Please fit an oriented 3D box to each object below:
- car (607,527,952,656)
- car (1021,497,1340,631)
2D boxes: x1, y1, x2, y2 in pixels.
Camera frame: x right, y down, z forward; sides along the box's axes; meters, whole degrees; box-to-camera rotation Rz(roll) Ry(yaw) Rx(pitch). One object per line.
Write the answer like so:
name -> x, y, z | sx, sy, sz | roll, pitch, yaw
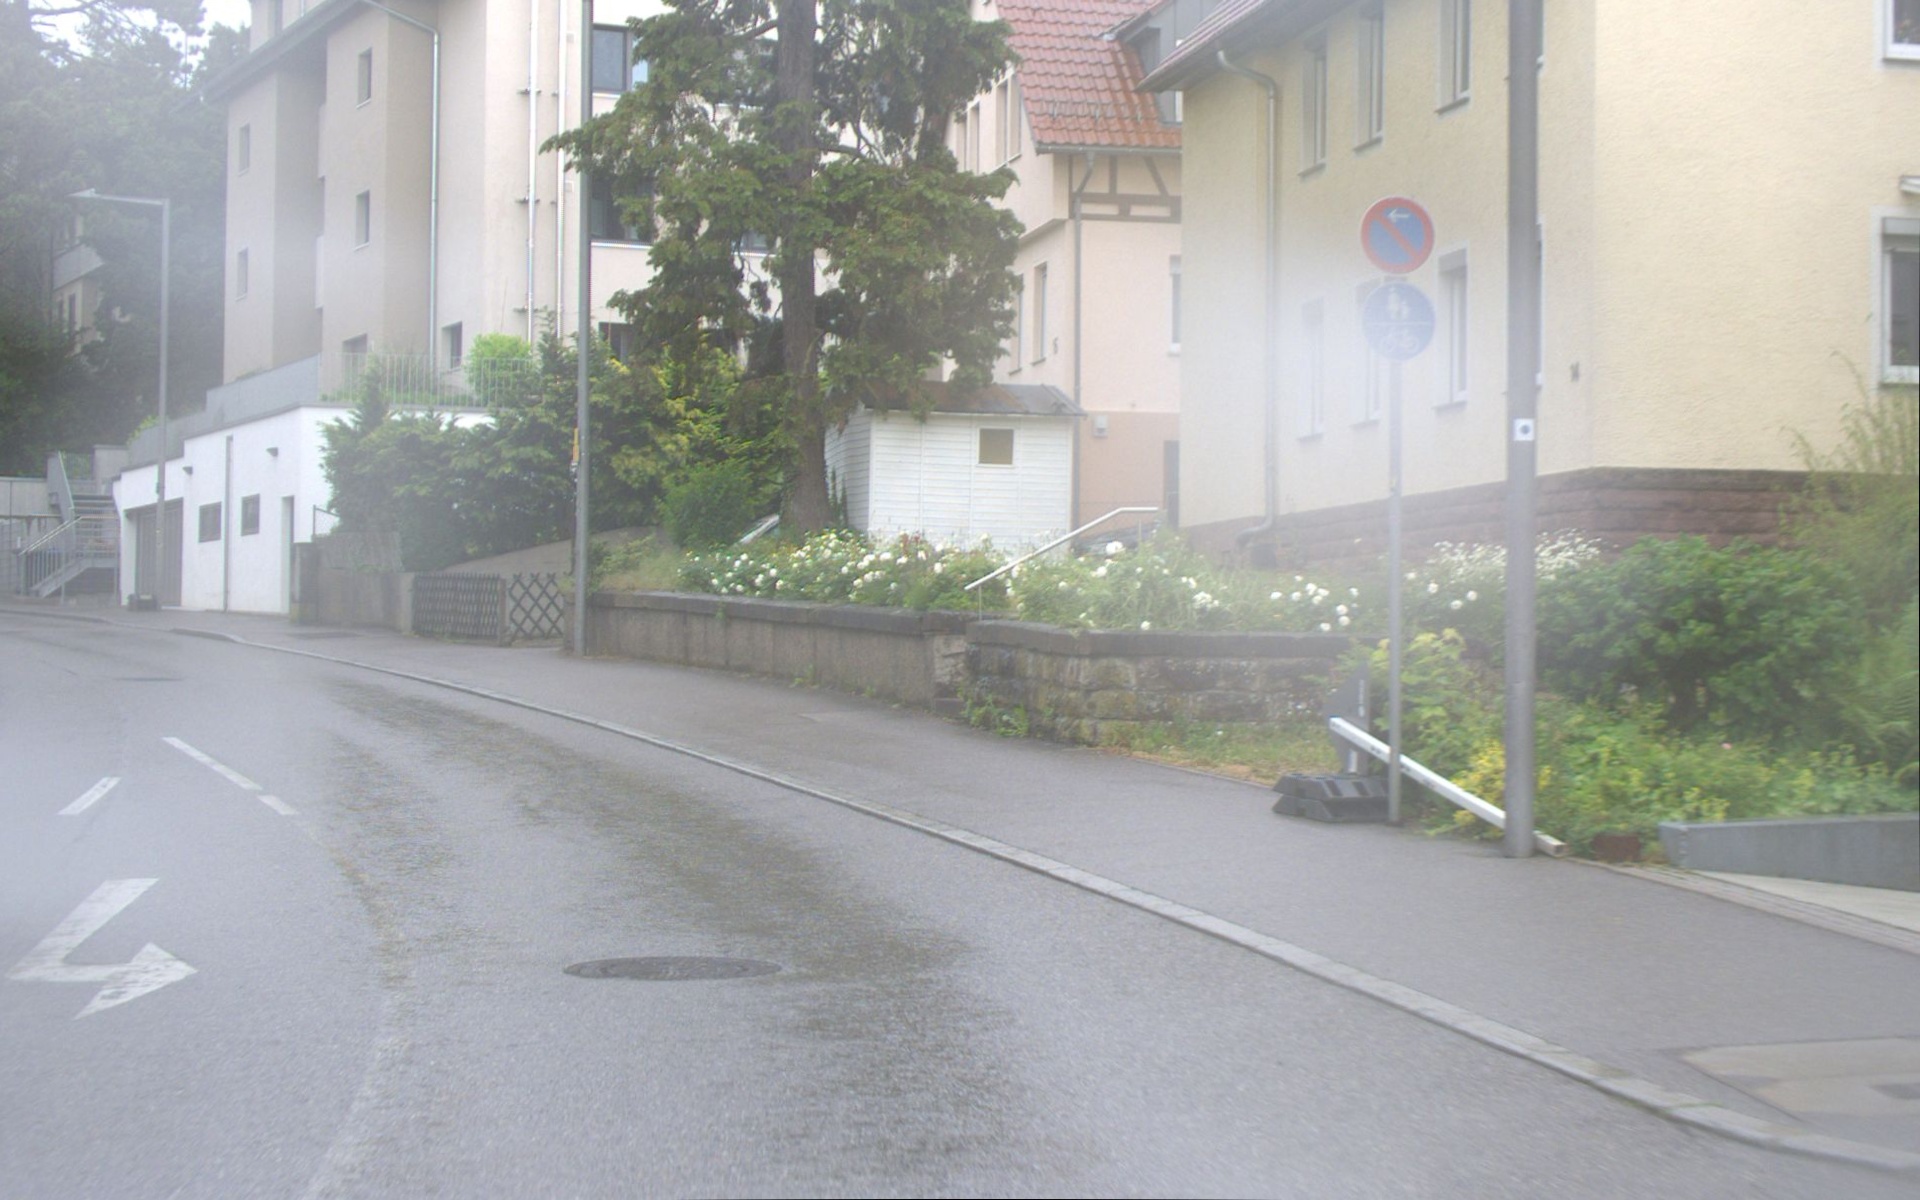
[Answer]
car -> -2.416, -0.128, 45.470 | 4.316, 1.647, 1.964 | 0, 1, -11
car -> 2.970, -0.499, 46.594 | 3.851, 1.647, 1.964 | -2, 1, -14
